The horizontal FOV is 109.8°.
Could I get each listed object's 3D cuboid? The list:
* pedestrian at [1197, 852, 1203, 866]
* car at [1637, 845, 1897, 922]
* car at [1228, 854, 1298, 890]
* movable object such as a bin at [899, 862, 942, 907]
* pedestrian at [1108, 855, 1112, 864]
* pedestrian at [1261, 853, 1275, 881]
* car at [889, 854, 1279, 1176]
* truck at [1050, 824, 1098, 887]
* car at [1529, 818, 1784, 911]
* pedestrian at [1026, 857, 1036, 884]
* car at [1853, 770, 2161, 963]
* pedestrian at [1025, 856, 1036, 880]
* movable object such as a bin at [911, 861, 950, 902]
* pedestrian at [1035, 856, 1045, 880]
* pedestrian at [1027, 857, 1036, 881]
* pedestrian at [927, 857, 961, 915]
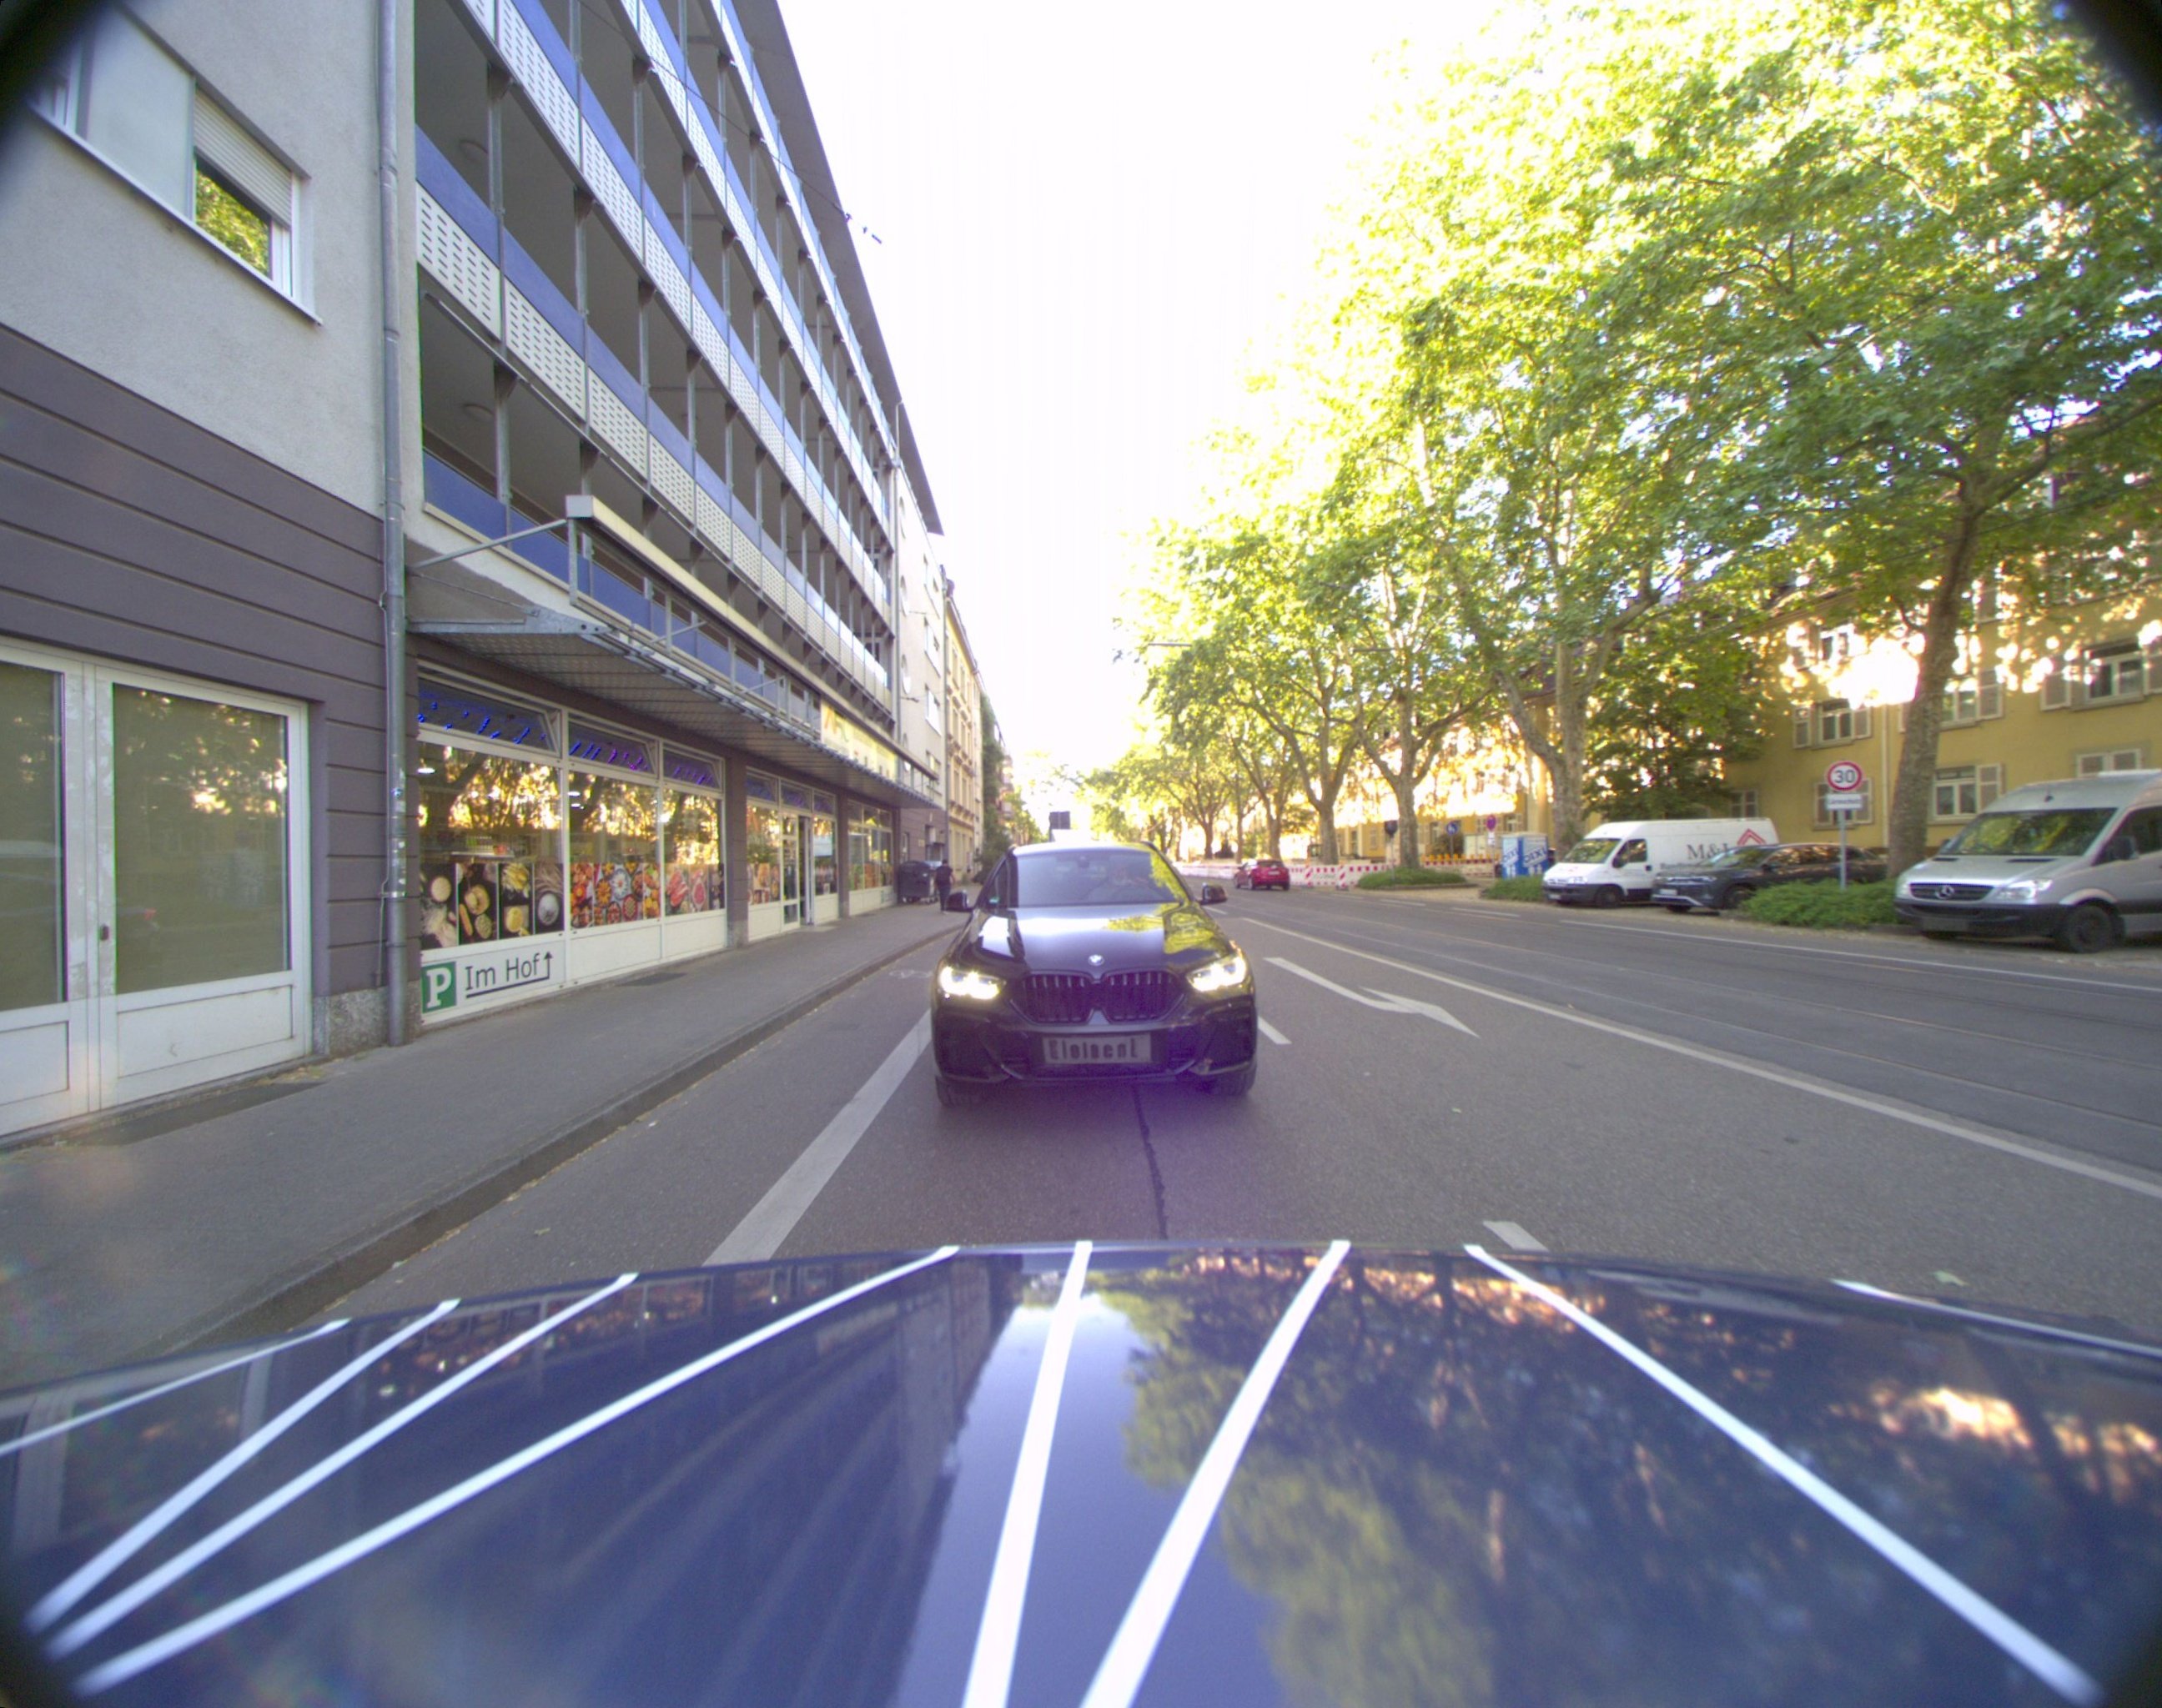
[{"bbox_3d":[15.460,0.657,98.988,0.732,1.875,0.665,-2,1,8],"label":"pedestrian"},{"bbox_3d":[16.077,0.659,17.954,4.627,1.642,1.774,-1,0,-2],"label":"car"},{"bbox_3d":[8.546,0.822,36.141,2.022,1.556,4.490,-1,0,-3],"label":"car"},{"bbox_3d":[-5.200,0.981,24.660,1.158,1.418,0.939,-1,0,1],"label":"movable object such as a bin"},{"bbox_3d":[6.285,1.160,165.773,0.733,1.875,0.741,-2,1,-1],"label":"pedestrian"},{"bbox_3d":[11.793,0.792,47.810,0.652,1.735,0.583,-2,1,-4],"label":"pedestrian"},{"bbox_3d":[0.043,0.845,6.091,1.998,1.643,4.295,-1,0,1],"label":"car"},{"bbox_3d":[-0.315,0.122,42.227,2.394,3.170,6.587,-1,0,1],"label":"truck"},{"bbox_3d":[15.844,0.291,21.161,5.404,2.362,2.223,-1,0,0],"label":"car"},{"bbox_3d":[-3.658,1.193,55.360,0.600,1.875,0.581,-2,1,-1],"label":"pedestrian"},{"bbox_3d":[15.984,0.130,11.872,5.666,2.666,2.223,-2,0,-2],"label":"car"},{"bbox_3d":[-4.047,1.145,61.030,0.733,1.875,0.664,-2,1,-1],"label":"pedestrian"},{"bbox_3d":[-5.284,0.953,26.698,1.158,1.418,0.939,-1,0,1],"label":"movable object such as a bin"},{"bbox_3d":[-3.269,1.109,60.512,0.733,1.875,0.664,-2,1,-1],"label":"pedestrian"},{"bbox_3d":[-3.802,1.159,58.952,0.600,1.875,0.581,-2,1,-1],"label":"pedestrian"},{"bbox_3d":[-3.798,0.882,21.093,0.864,1.582,0.622,1,0,-5],"label":"pedestrian"}]
